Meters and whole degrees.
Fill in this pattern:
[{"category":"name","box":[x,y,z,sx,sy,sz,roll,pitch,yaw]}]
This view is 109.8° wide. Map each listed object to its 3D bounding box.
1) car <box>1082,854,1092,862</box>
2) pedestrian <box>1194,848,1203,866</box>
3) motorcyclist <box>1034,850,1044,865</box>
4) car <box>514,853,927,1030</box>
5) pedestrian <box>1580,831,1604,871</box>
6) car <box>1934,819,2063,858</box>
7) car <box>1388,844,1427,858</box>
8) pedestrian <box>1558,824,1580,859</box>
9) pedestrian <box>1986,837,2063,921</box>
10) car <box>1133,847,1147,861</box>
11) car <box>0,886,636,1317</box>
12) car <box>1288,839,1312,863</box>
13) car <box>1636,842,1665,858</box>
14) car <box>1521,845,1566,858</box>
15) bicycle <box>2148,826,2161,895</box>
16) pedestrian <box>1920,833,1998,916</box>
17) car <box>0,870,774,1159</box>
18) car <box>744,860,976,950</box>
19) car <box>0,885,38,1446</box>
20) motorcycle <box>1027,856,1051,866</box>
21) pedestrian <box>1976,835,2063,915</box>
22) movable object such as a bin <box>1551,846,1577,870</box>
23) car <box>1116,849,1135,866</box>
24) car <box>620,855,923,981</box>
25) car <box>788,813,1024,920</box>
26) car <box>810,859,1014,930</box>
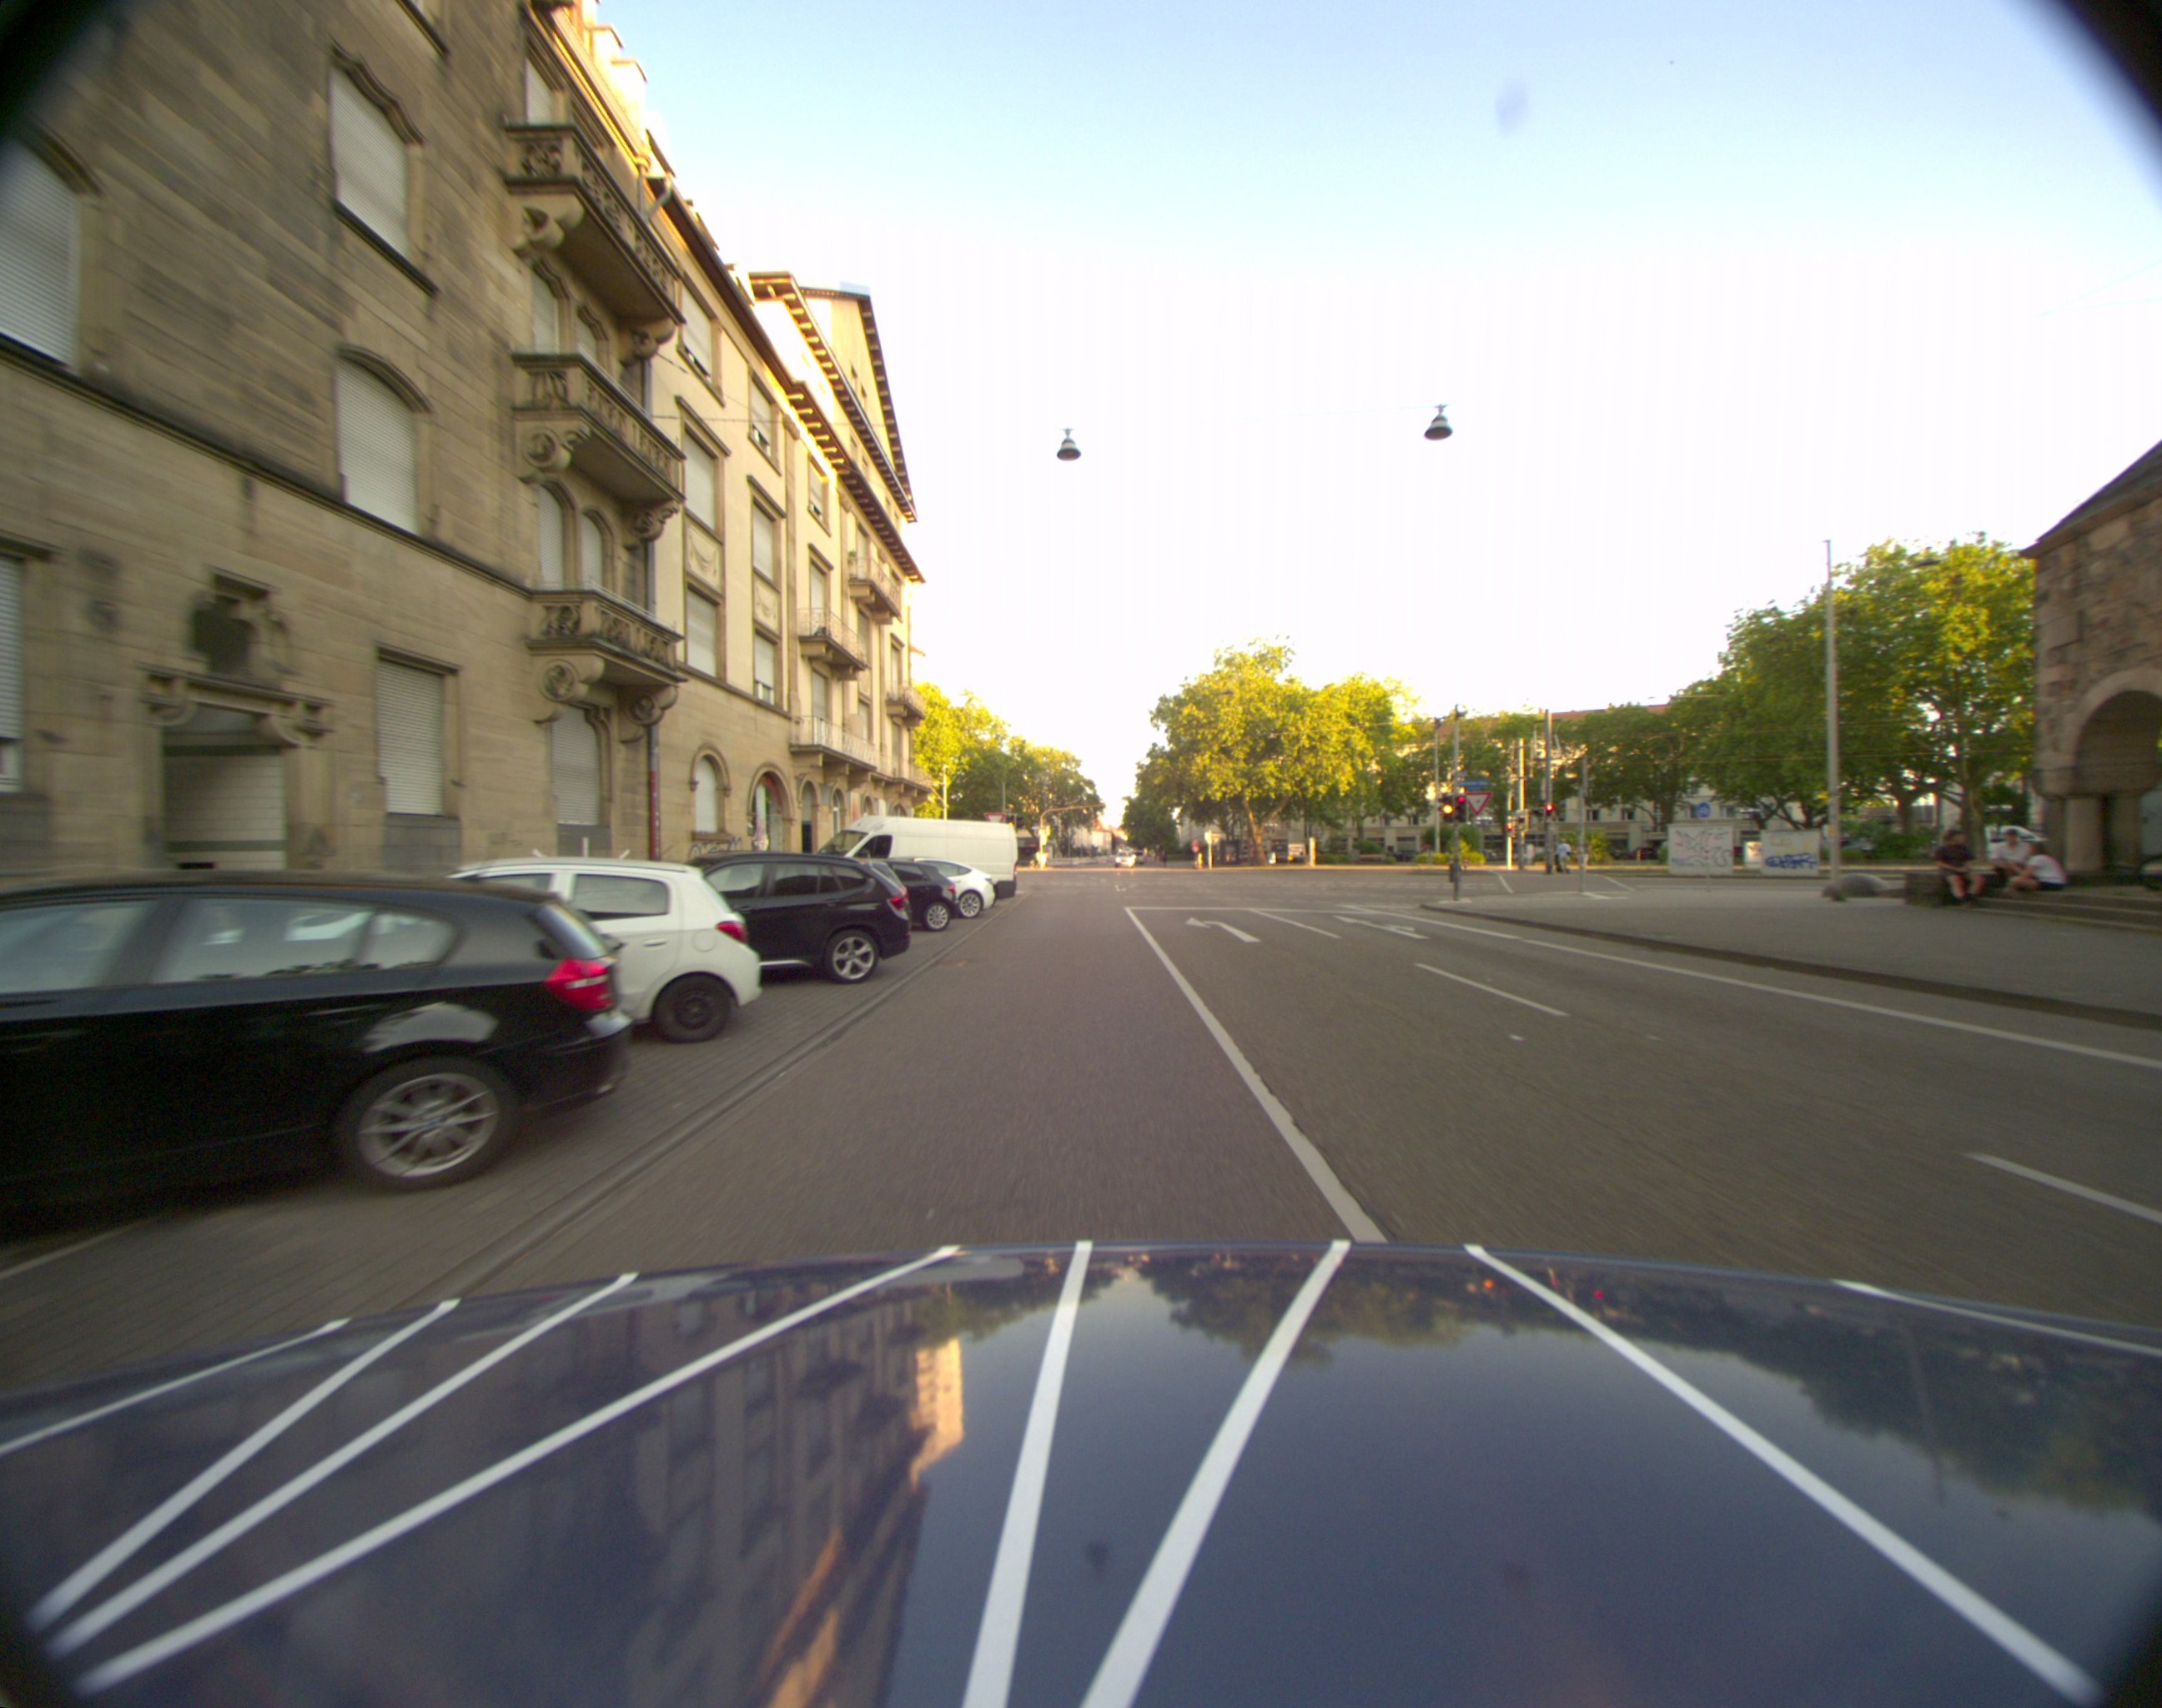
[{"category":"car","box":[1.156,0.761,144.925,1.794,1.571,4.001,-1,0,4]},{"category":"pedestrian","box":[10.645,0.299,68.867,0.745,1.619,0.660,-1,1,18]},{"category":"motorcyclist","box":[-4.074,0.325,74.003,0.830,1.511,0.621,-1,1,-24]},{"category":"car","box":[-4.123,0.836,8.966,4.107,1.598,1.811,1,1,-37]},{"category":"pedestrian","box":[23.980,-0.126,35.658,0.709,1.836,1.161,-1,1,21]},{"category":"car","box":[65.437,-1.071,54.358,5.565,2.603,2.003,-1,1,25]},{"category":"car","box":[39.232,-0.341,91.279,3.989,1.696,2.004,0,1,34]},{"category":"pedestrian","box":[23.101,-0.567,35.977,0.718,1.625,1.008,-1,1,21]},{"category":"pedestrian","box":[15.964,0.396,12.860,0.700,1.367,0.801,-1,1,-38]},{"category":"car","box":[8.374,0.040,108.108,1.991,1.945,4.597,-1,0,4]},{"category":"car","box":[-4.408,0.910,3.417,4.042,1.423,1.863,1,1,-33]},{"category":"car","box":[18.659,-0.240,64.873,1.865,2.002,3.815,-1,1,16]},{"category":"car","box":[62.632,-0.485,83.676,1.995,1.729,4.007,0,1,29]},{"category":"car","box":[51.320,-0.299,84.353,3.991,1.410,1.812,-1,1,20]},{"category":"bicycle","box":[17.337,0.088,10.988,2.281,1.051,0.596,-1,1,19]},{"category":"pedestrian","box":[15.953,0.352,13.827,0.628,1.445,0.917,0,1,27]},{"category":"car","box":[-4.729,0.909,5.884,4.065,1.490,1.749,1,1,-34]},{"category":"car","box":[-4.253,0.896,14.884,3.924,1.438,1.869,1,2,-39]},{"category":"car","box":[-4.450,0.891,0.436,4.128,1.537,1.790,0,3,-27]},{"category":"motorcycle","box":[-4.091,0.638,73.993,2.288,0.917,0.621,-1,1,-24]},{"category":"pedestrian","box":[16.634,0.360,13.492,0.801,1.367,0.701,0,1,34]},{"category":"movable object such as a bin","box":[23.562,0.195,37.048,0.860,1.113,1.139,-1,1,21]},{"category":"car","box":[4.337,0.298,73.631,1.840,1.549,4.001,-1,0,4]},{"category":"car","box":[-4.603,0.842,11.582,3.925,1.536,1.712,1,2,-40]},{"category":"car","box":[-4.619,0.253,20.747,5.897,2.537,2.189,0,2,-40]},{"category":"car","box":[-3.939,0.854,18.027,4.263,1.445,1.994,0,1,-38]}]
